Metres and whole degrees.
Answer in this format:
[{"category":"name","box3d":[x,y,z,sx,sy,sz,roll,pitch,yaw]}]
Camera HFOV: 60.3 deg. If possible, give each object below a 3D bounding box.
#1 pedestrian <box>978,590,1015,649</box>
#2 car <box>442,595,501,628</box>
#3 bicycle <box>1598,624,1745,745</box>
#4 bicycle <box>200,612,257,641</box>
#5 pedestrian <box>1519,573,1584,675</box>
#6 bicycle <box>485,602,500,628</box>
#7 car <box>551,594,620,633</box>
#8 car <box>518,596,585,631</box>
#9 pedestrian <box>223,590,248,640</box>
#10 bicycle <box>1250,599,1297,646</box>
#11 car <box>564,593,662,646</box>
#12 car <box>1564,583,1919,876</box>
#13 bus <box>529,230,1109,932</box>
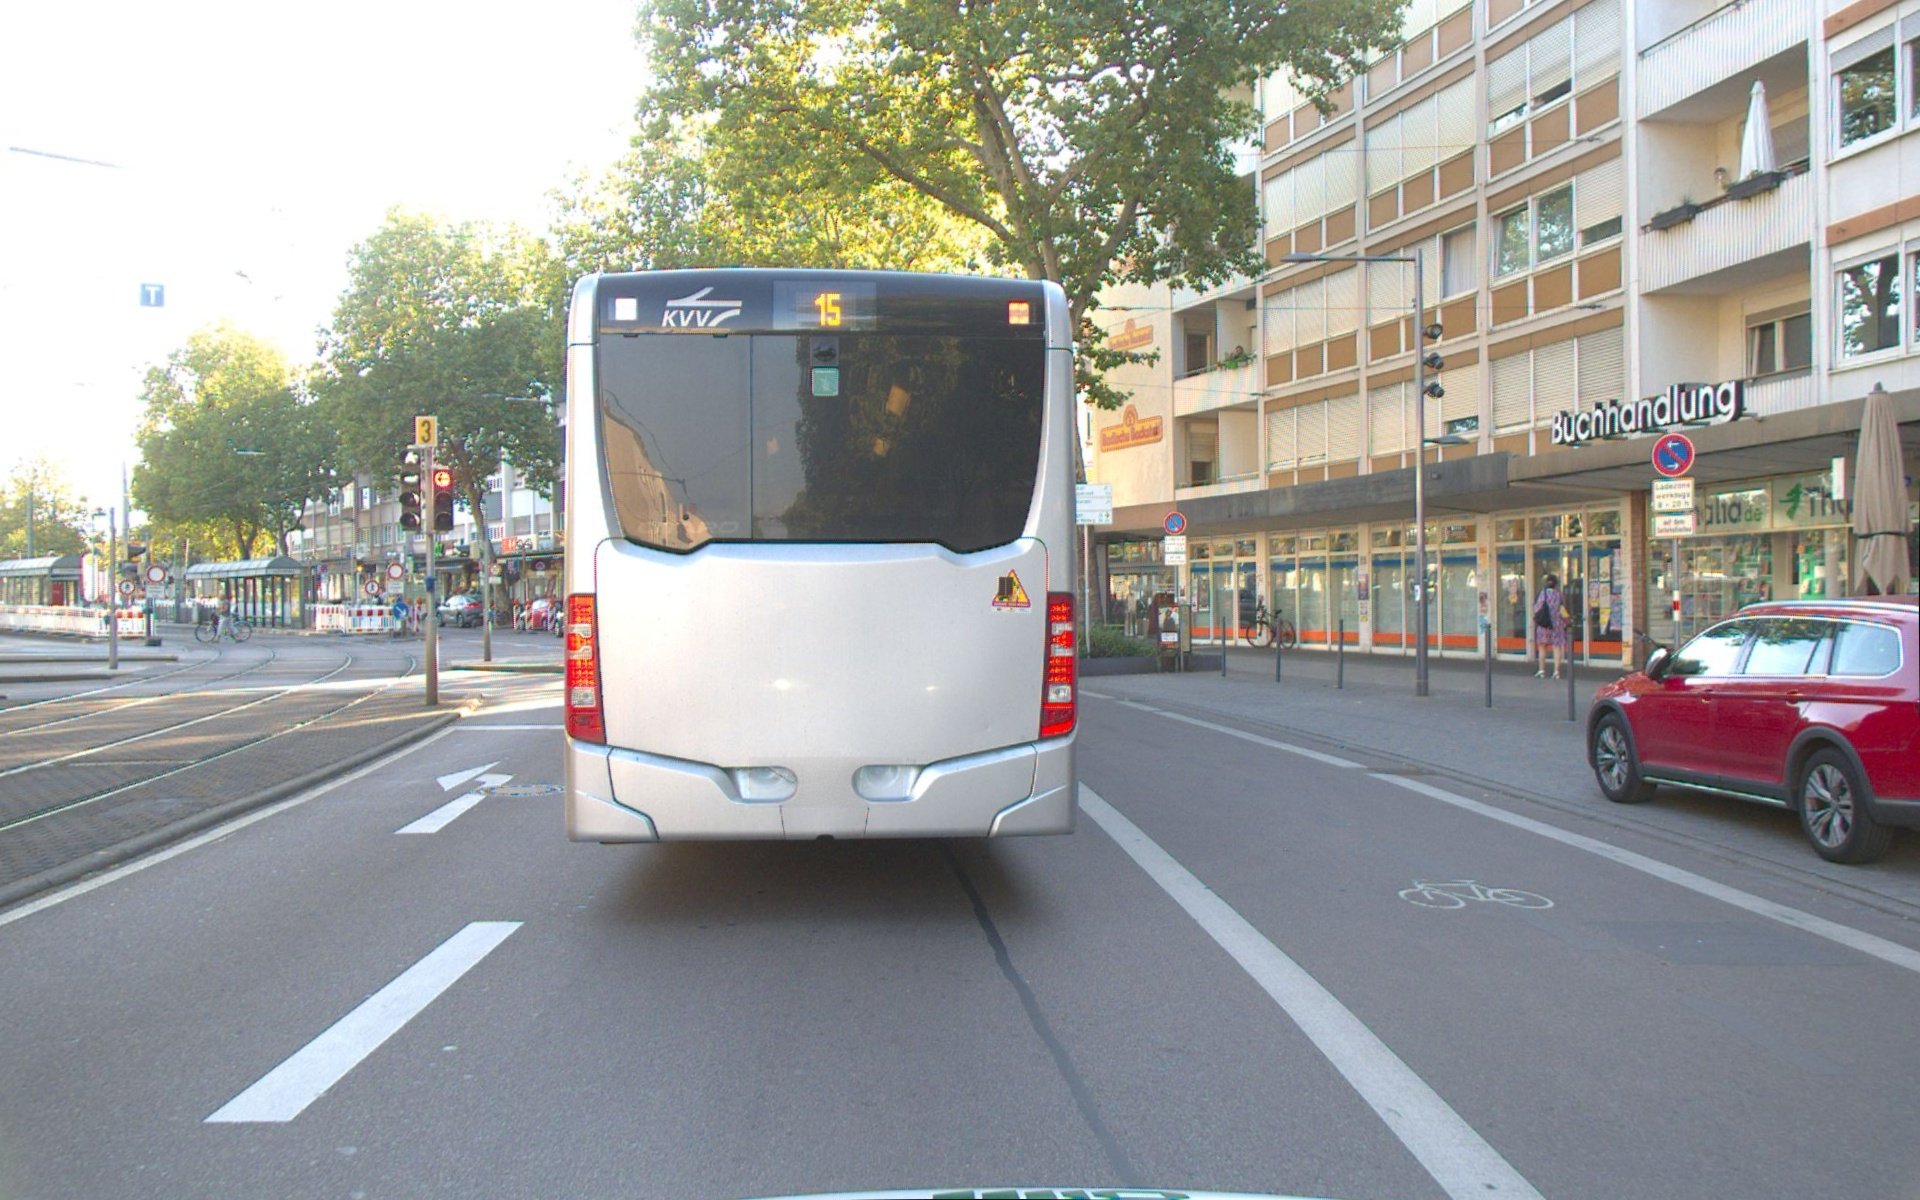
[{"category":"pedestrian","box3d":[1.102,0.583,50.641,0.824,1.742,0.787,-3,1,-25]},{"category":"car","box3d":[-24.453,0.553,82.733,1.651,1.494,3.366,-4,3,-38]},{"category":"bicycle","box3d":[7.101,0.815,16.589,0.502,1.089,1.658,-3,1,-10]},{"category":"bicycle","box3d":[-26.024,0.937,58.856,1.830,0.959,0.457,-1,0,-41]},{"category":"pedestrian","box3d":[9.371,0.377,26.228,0.628,1.579,0.805,-1,0,-14]},{"category":"bicycle","box3d":[-22.532,0.697,79.650,0.499,1.232,2.080,0,0,-21]},{"category":"car","box3d":[-16.423,0.568,72.425,1.650,1.542,3.368,-4,3,-37]},{"category":"car","box3d":[-18.725,0.599,75.723,1.651,1.419,3.365,-5,3,-38]},{"category":"pedestrian","box3d":[-25.652,0.523,58.566,0.716,1.755,0.393,-1,0,-42]},{"category":"bicycle","box3d":[7.652,0.547,40.416,0.431,1.111,1.453,-3,1,-19]},{"category":"car","box3d":[-10.321,0.547,48.992,1.737,1.489,3.960,-1,0,-30]},{"category":"car","box3d":[5.867,0.683,10.933,1.744,1.522,4.563,-3,0,-4]},{"category":"bus","box3d":[-1.005,-0.085,12.631,2.606,3.153,10.206,-1,0,-4]}]
